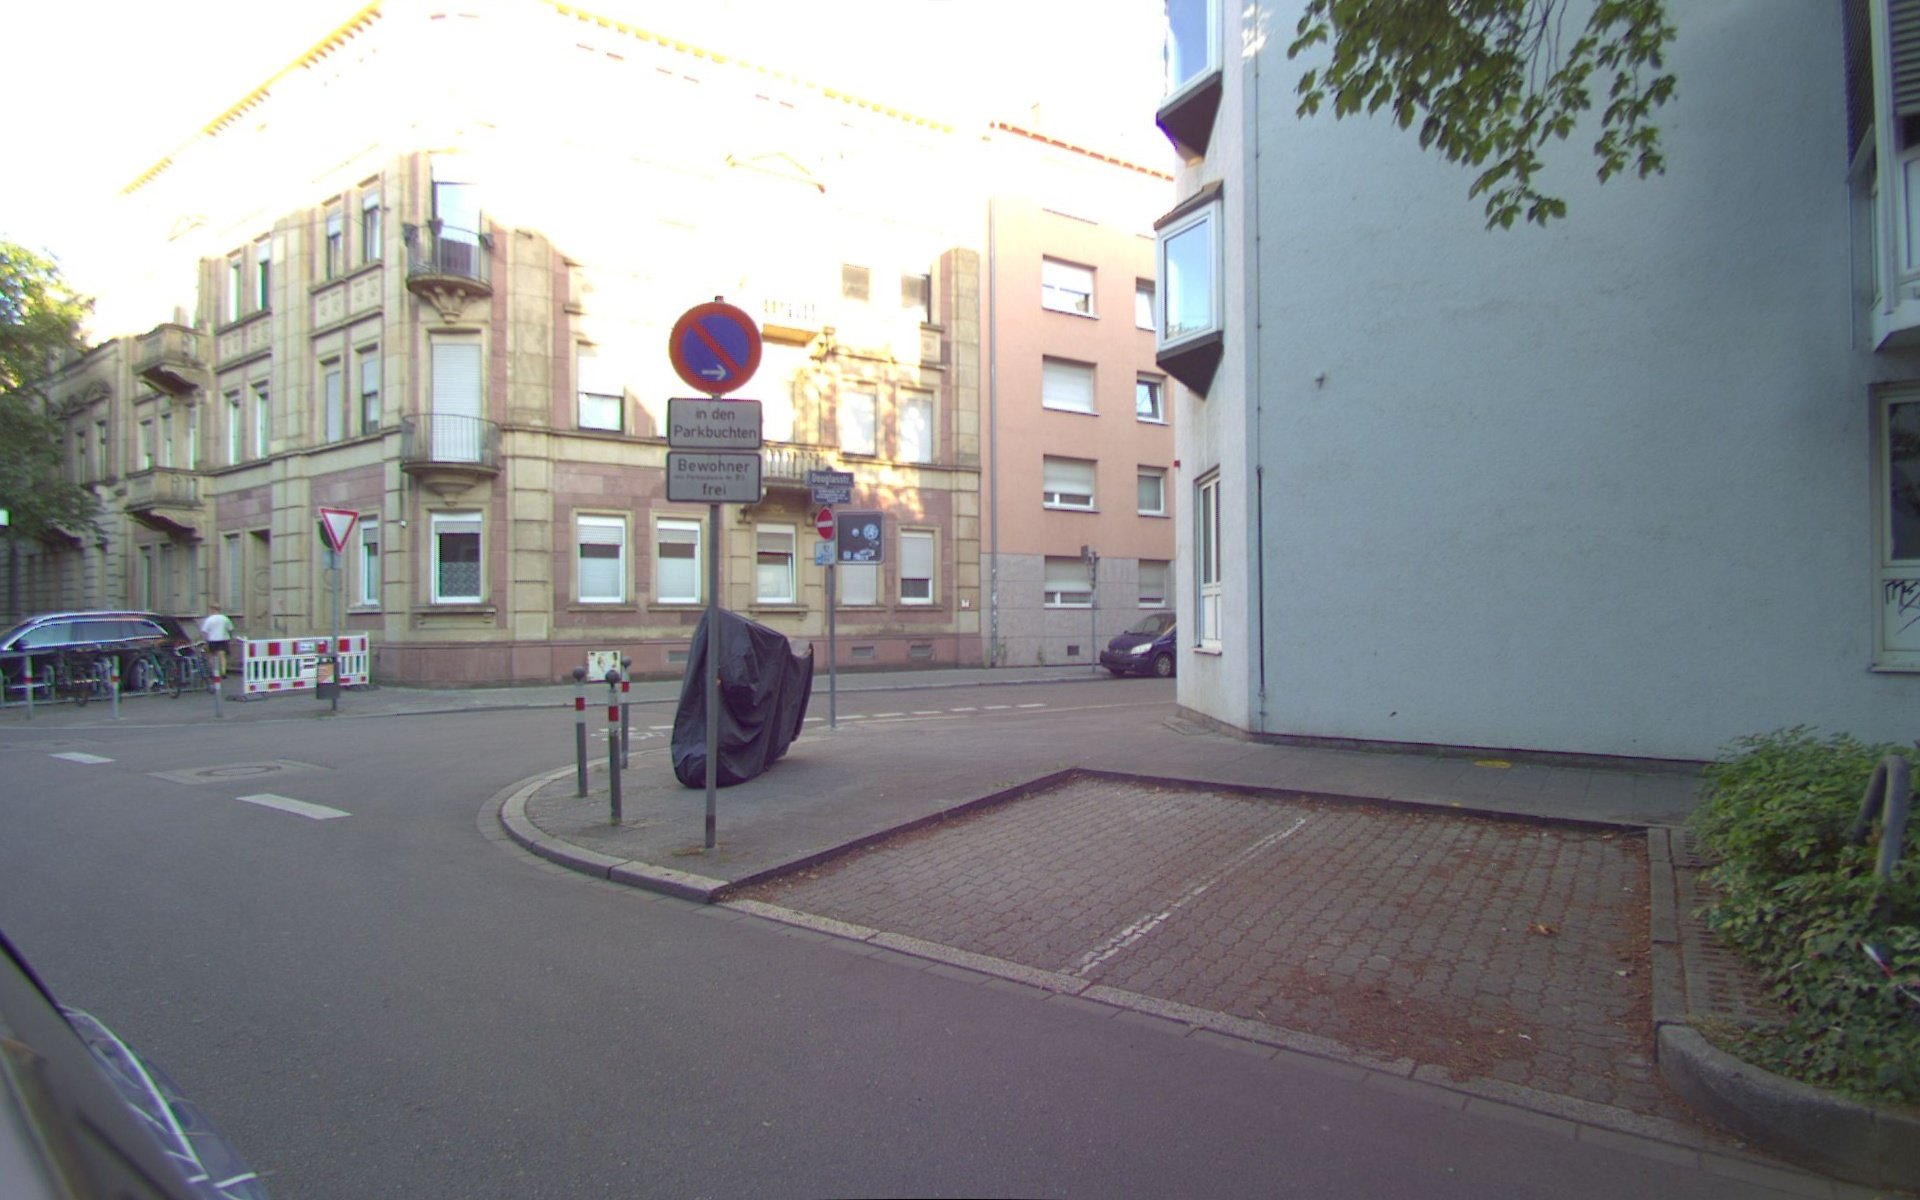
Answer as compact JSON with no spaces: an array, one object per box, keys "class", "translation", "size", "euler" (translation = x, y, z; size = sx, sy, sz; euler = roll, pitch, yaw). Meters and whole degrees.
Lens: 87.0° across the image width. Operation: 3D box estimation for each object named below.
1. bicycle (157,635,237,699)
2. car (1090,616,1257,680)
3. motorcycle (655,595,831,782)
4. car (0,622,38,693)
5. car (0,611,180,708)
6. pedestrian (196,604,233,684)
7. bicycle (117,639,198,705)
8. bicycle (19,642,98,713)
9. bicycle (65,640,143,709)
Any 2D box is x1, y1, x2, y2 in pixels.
[{"class":"bicycle","translation":[-14.647,1.256,19.408],"size":[2.033,1.159,0.556],"euler":[-1,-1,33]},{"class":"car","translation":[5.540,1.176,26.064],"size":[4.297,1.529,1.789],"euler":[1,-2,-36]},{"class":"motorcycle","translation":[-1.932,0.743,9.418],"size":[0.809,1.516,2.276],"euler":[-1,-1,10]},{"class":"car","translation":[-24.504,1.373,23.622],"size":[1.740,1.690,4.190],"euler":[-1,-2,39]},{"class":"car","translation":[-18.121,1.122,19.704],"size":[1.739,1.795,4.369],"euler":[-1,-2,38]},{"class":"pedestrian","translation":[-17.148,1.002,23.273],"size":[0.651,1.821,0.565],"euler":[-2,-2,42]},{"class":"bicycle","translation":[-15.002,1.317,18.905],"size":[2.033,1.159,0.556],"euler":[-1,-1,33]},{"class":"bicycle","translation":[-15.827,1.337,17.748],"size":[2.034,1.159,0.555],"euler":[-1,-1,34]},{"class":"bicycle","translation":[-15.474,1.314,18.277],"size":[2.034,1.159,0.555],"euler":[-1,-1,34]}]
